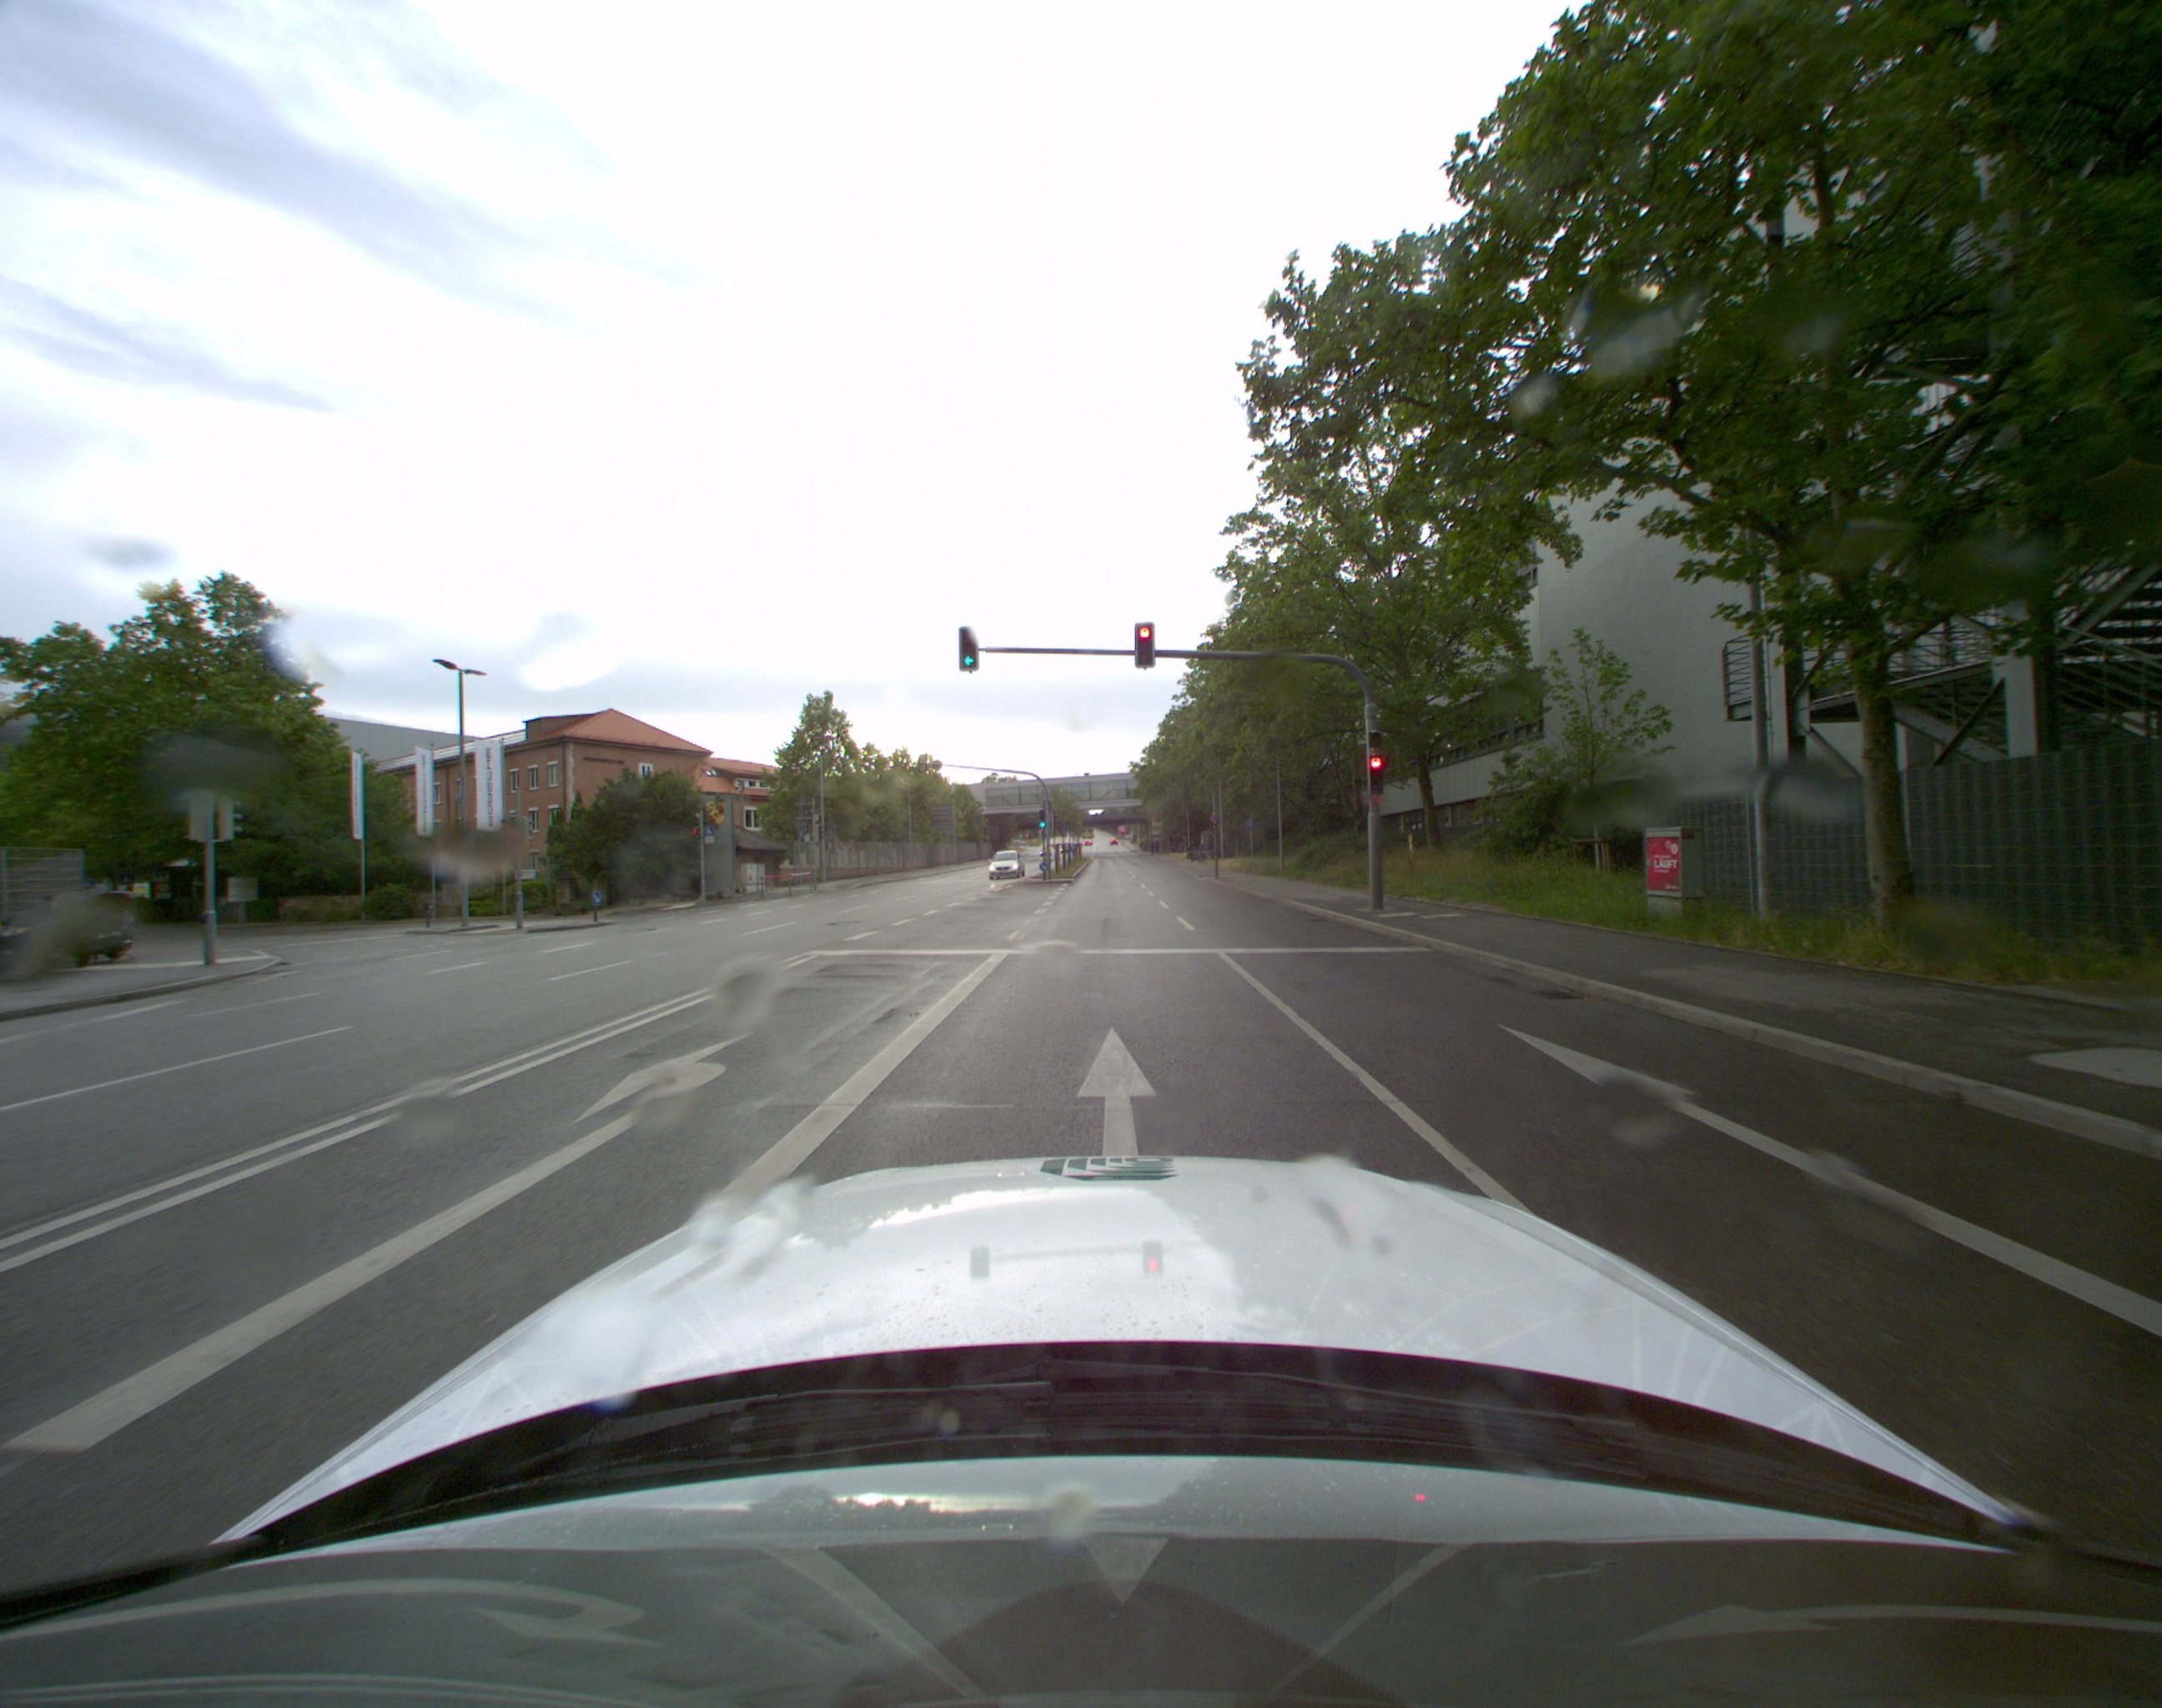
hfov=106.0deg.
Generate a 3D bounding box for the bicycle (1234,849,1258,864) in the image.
[{"bbox_3d":[14.597,0.250,72.101,1.982,1.328,0.576,0,-1,2],"label":"bicycle"}]

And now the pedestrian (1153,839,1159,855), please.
[{"bbox_3d":[9.970,-0.924,107.868,0.619,2.013,0.606,-3,0,2],"label":"pedestrian"}]

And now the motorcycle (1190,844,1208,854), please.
[{"bbox_3d":[15.846,-0.728,109.479,2.354,1.202,0.724,-3,0,9],"label":"motorcycle"}]

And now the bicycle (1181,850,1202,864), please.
[{"bbox_3d":[10.659,0.301,78.684,1.952,1.328,0.576,0,-1,2],"label":"bicycle"}]

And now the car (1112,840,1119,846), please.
[{"bbox_3d":[8.932,-2.910,211.428,1.868,1.497,4.070,0,-1,2],"label":"car"}]

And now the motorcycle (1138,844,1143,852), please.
[{"bbox_3d":[11.133,-1.144,153.049,0.787,1.533,2.377,-3,0,1],"label":"motorcycle"}]

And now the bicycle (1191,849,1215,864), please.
[{"bbox_3d":[10.379,0.221,69.166,1.982,1.242,0.541,0,-1,2],"label":"bicycle"}]

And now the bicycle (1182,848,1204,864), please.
[{"bbox_3d":[10.433,0.213,75.886,1.982,1.430,0.723,0,-1,2],"label":"bicycle"}]

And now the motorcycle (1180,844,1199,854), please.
[{"bbox_3d":[14.346,-0.692,107.366,2.354,1.202,0.724,-3,0,9],"label":"motorcycle"}]

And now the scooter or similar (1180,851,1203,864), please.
[{"bbox_3d":[9.807,0.295,72.302,1.982,1.138,0.541,0,-1,2],"label":"scooter or similar"}]

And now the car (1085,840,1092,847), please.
[{"bbox_3d":[2.062,-2.830,221.895,1.877,1.762,3.971,0,-1,2],"label":"car"}]

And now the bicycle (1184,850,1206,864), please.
[{"bbox_3d":[10.768,0.277,76.730,1.982,1.328,0.576,0,-1,2],"label":"bicycle"}]

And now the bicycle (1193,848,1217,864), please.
[{"bbox_3d":[10.446,0.146,68.472,1.982,1.340,0.541,0,-1,2],"label":"bicycle"}]

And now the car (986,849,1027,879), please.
[{"bbox_3d":[-4.357,0.541,48.134,1.870,1.624,3.781,-3,0,2],"label":"car"}]

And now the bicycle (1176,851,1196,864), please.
[{"bbox_3d":[10.639,0.352,82.699,1.955,1.328,0.654,0,-1,2],"label":"bicycle"}]

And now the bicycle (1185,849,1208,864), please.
[{"bbox_3d":[10.386,0.244,73.399,1.982,1.328,0.576,0,-1,2],"label":"bicycle"}]

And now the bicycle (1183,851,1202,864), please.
[{"bbox_3d":[11.472,0.370,83.759,1.955,1.328,0.654,0,-1,2],"label":"bicycle"}]

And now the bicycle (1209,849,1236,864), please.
[{"bbox_3d":[10.794,0.208,62.159,1.982,1.094,0.541,0,-1,2],"label":"bicycle"}]

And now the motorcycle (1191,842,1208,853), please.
[{"bbox_3d":[16.744,-0.900,115.232,2.354,1.476,0.724,-3,0,9],"label":"motorcycle"}]

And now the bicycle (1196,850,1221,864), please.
[{"bbox_3d":[10.309,0.242,65.813,1.982,1.094,0.541,0,-1,2],"label":"bicycle"}]

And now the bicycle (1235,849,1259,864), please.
[{"bbox_3d":[14.523,0.241,71.425,1.982,1.328,0.576,0,-1,2],"label":"bicycle"}]

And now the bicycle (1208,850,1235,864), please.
[{"bbox_3d":[10.818,0.215,62.728,1.982,1.094,0.541,0,-1,2],"label":"bicycle"}]

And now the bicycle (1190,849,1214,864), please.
[{"bbox_3d":[10.413,0.234,70.115,1.982,1.242,0.541,0,-1,2],"label":"bicycle"}]

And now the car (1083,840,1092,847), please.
[{"bbox_3d":[1.715,-2.661,215.193,1.986,1.762,4.002,0,-1,2],"label":"car"}]

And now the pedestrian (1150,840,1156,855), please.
[{"bbox_3d":[9.577,-0.885,108.298,0.619,2.013,0.606,-3,0,2],"label":"pedestrian"}]

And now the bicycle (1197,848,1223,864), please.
[{"bbox_3d":[10.196,0.170,64.208,1.982,1.216,0.541,0,-1,2],"label":"bicycle"}]

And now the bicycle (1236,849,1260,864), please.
[{"bbox_3d":[14.520,0.233,70.800,1.982,1.328,0.576,0,-1,2],"label":"bicycle"}]

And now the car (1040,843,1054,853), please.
[{"bbox_3d":[-5.701,-1.008,137.202,1.870,1.624,3.781,-3,0,2],"label":"car"}]

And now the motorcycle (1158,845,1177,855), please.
[{"bbox_3d":[11.269,-0.568,106.004,2.354,1.202,0.724,-3,0,9],"label":"motorcycle"}]

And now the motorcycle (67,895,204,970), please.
[{"bbox_3d":[-20.114,1.617,17.428,1.030,1.337,2.748,-3,0,-30],"label":"motorcycle"}]

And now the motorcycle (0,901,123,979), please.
[{"bbox_3d":[-18.857,1.528,14.906,0.774,1.218,2.487,-2,0,-27],"label":"motorcycle"}]

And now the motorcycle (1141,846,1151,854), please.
[{"bbox_3d":[10.696,-0.629,133.816,0.792,1.311,2.363,-3,0,-16],"label":"motorcycle"}]

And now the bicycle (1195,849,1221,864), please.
[{"bbox_3d":[10.349,0.190,66.395,1.982,1.233,0.541,0,-1,2],"label":"bicycle"}]

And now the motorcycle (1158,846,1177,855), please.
[{"bbox_3d":[11.673,-0.481,109.873,2.354,1.202,0.724,-3,0,9],"label":"motorcycle"}]

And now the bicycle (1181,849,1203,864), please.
[{"bbox_3d":[10.097,0.253,74.218,1.982,1.328,0.576,0,-1,2],"label":"bicycle"}]
